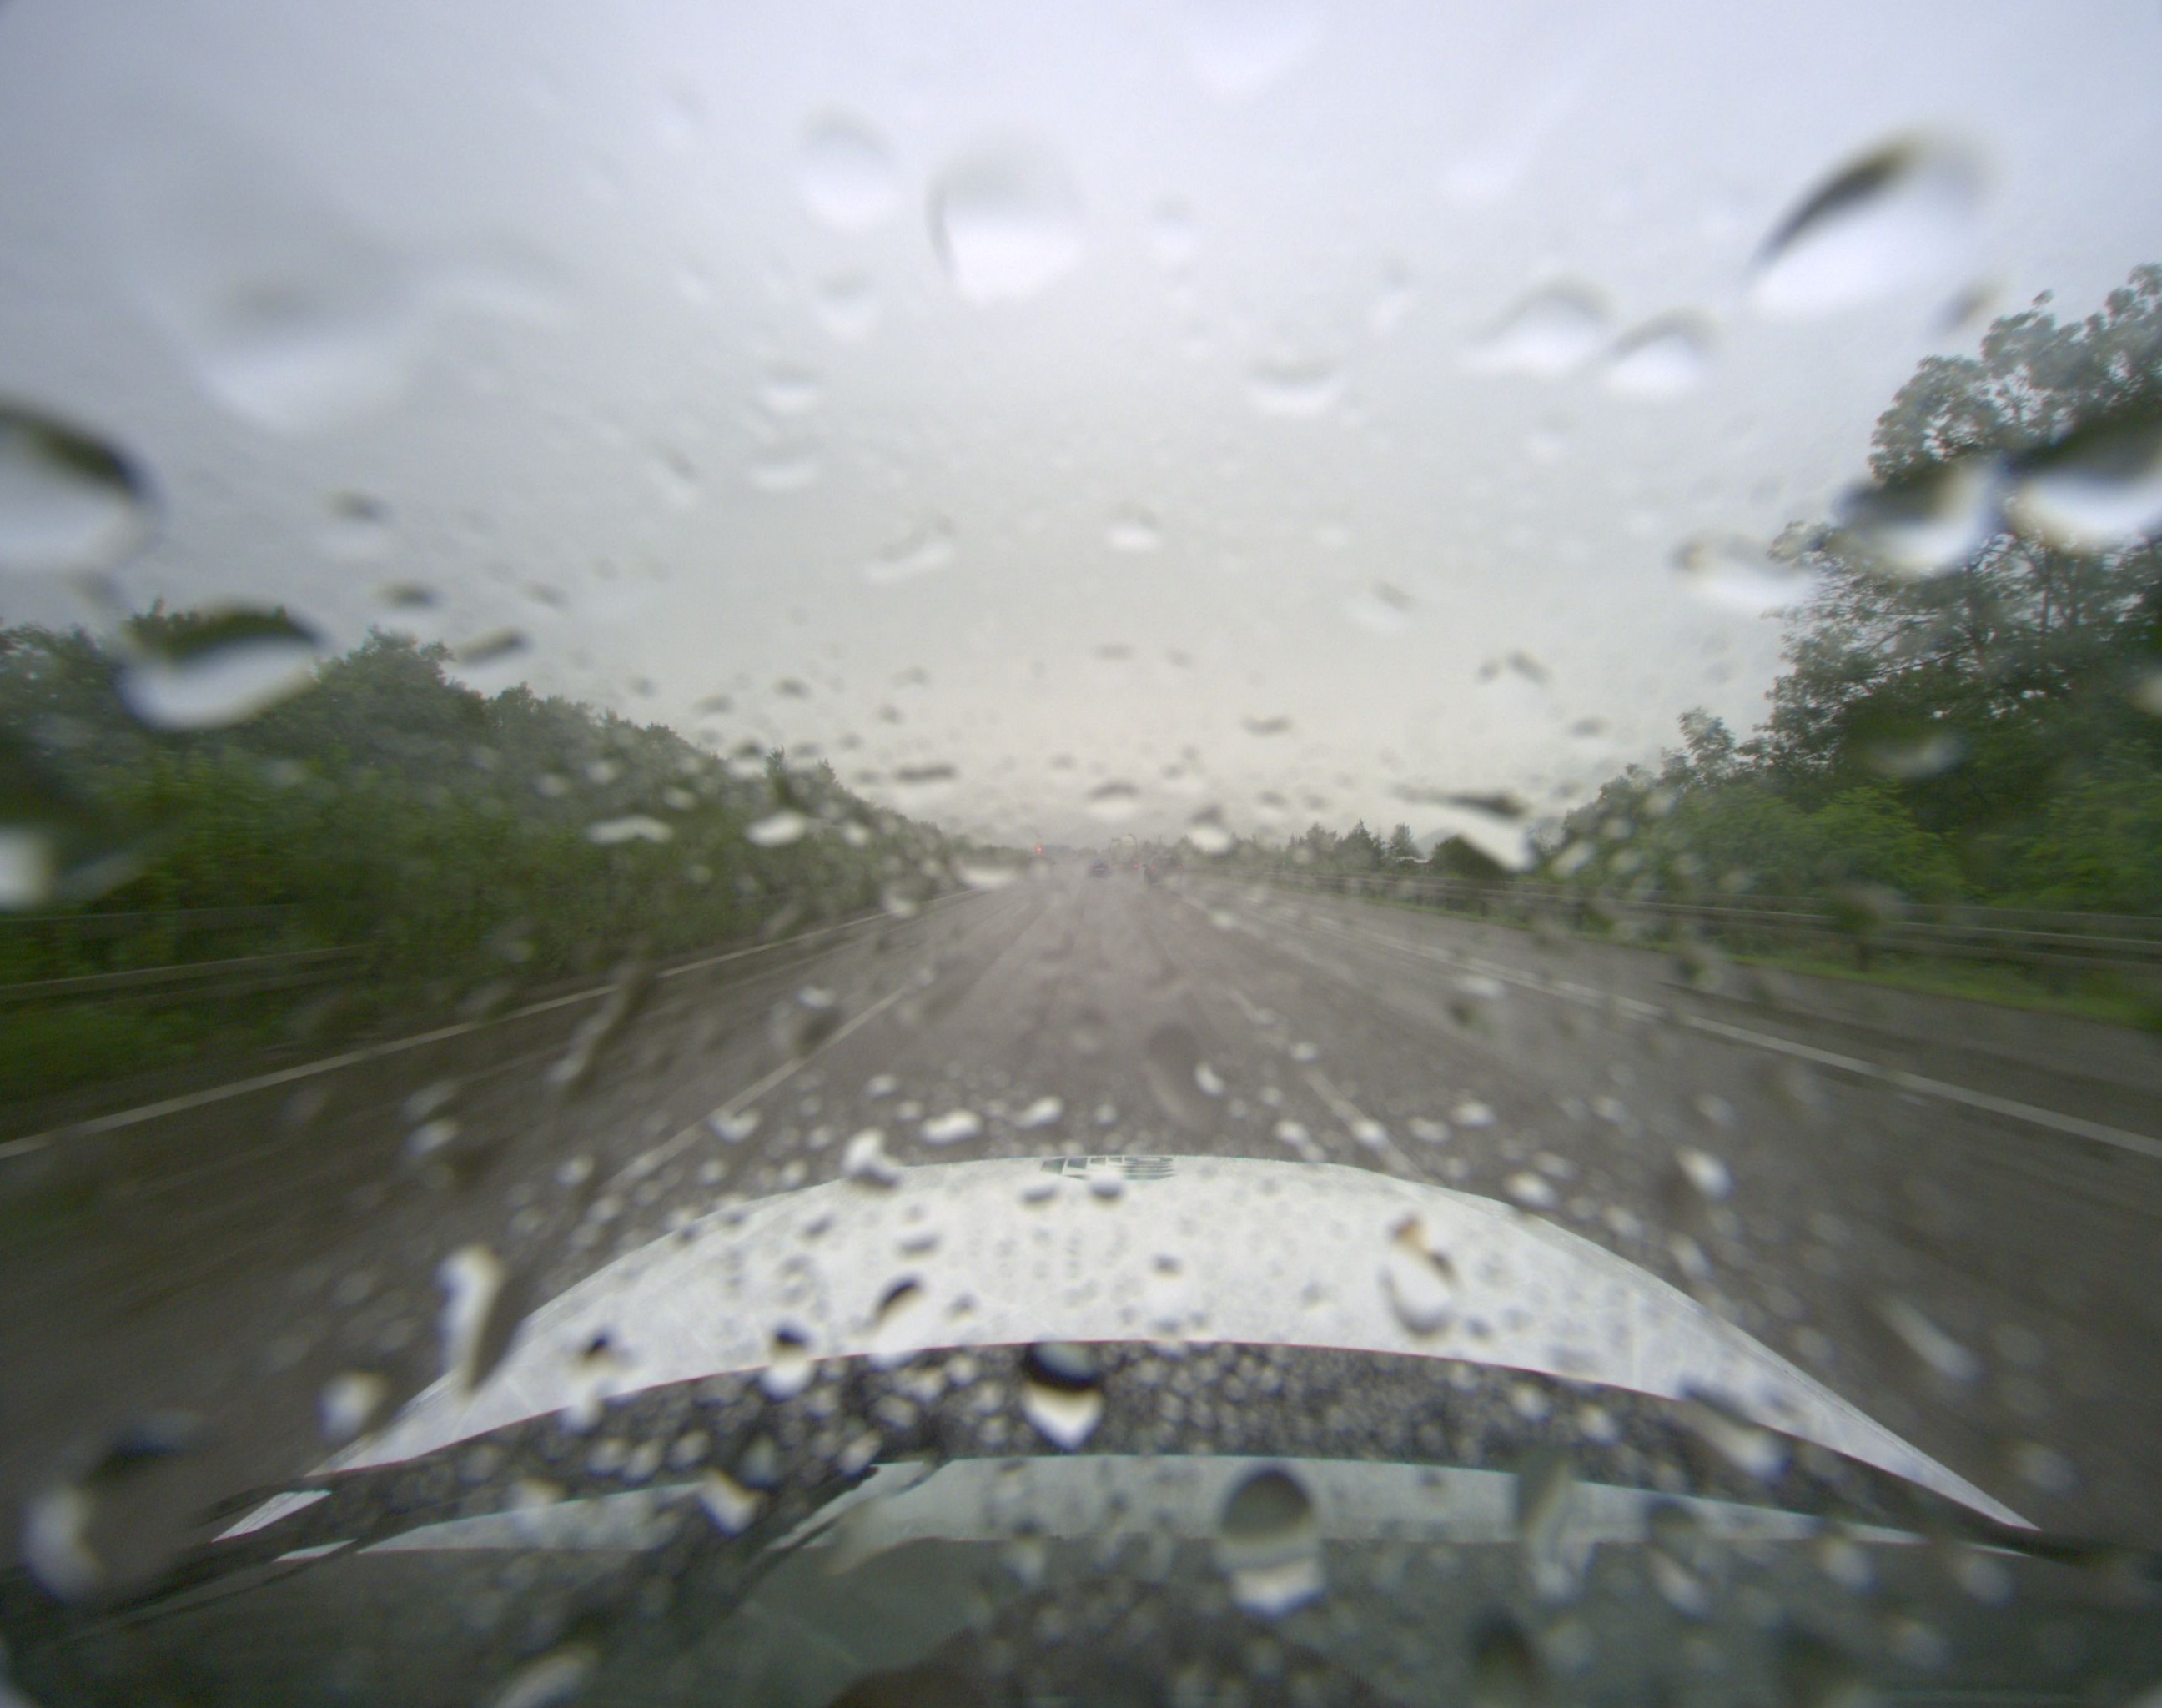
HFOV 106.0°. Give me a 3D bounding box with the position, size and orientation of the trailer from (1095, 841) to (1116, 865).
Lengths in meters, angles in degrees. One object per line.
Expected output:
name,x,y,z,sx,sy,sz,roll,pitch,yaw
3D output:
trailer,3.997,-0.075,135.546,2.997,3.848,8.616,-1,0,-2

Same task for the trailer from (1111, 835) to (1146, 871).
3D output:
trailer,5.155,-0.098,90.212,3.178,3.670,11.664,-1,0,0

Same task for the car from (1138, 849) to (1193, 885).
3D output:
car,4.424,0.653,43.700,2.449,1.746,5.720,-1,0,1

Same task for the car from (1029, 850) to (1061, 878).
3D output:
car,-2.301,0.664,53.351,1.919,1.741,4.402,0,0,-1

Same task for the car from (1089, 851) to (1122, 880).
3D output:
car,1.538,0.716,52.589,1.972,1.756,4.480,-1,0,-1
